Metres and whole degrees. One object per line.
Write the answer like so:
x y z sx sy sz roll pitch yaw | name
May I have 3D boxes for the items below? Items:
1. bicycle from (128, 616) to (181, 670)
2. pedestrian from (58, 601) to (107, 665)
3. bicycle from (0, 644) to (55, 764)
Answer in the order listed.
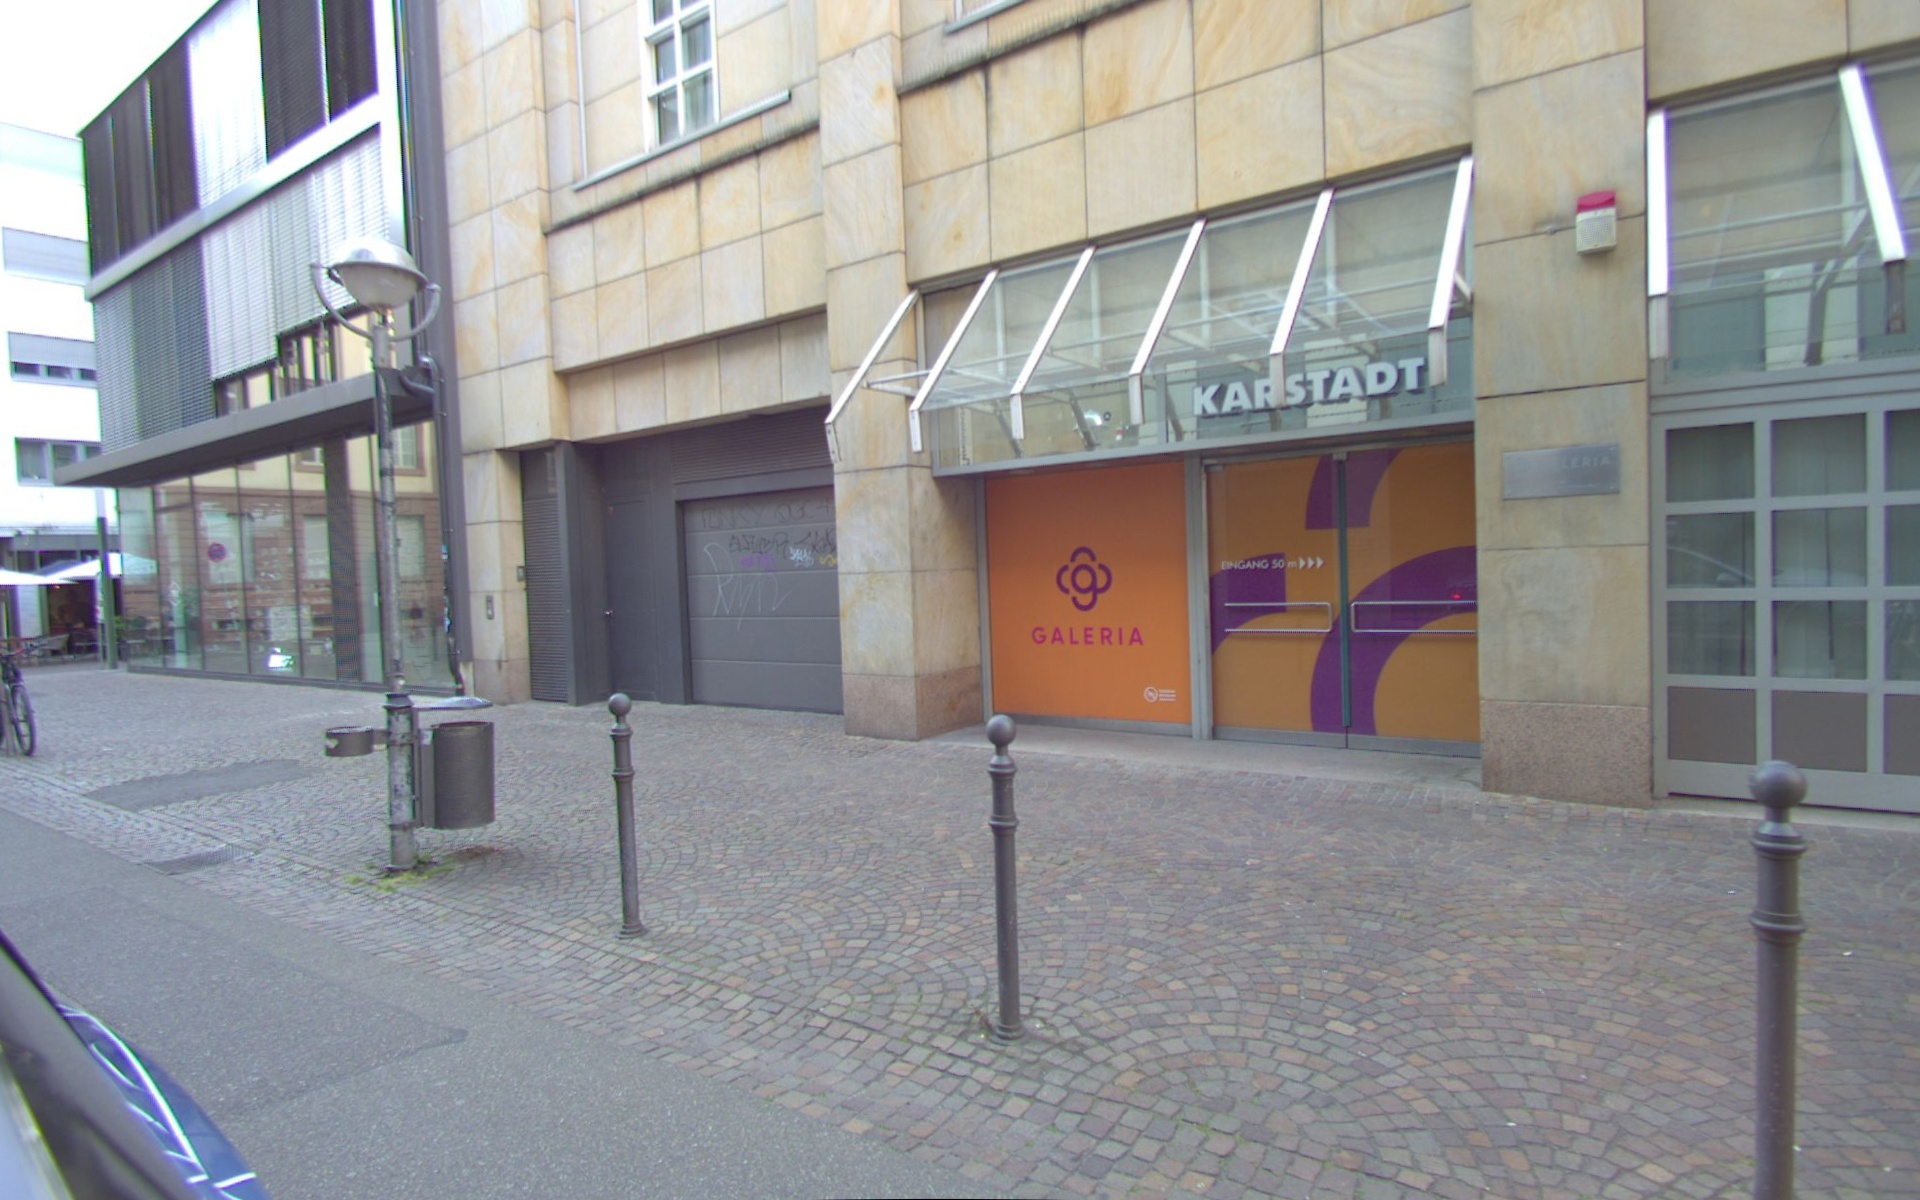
-18.697 1.006 23.481 1.699 1.144 0.461 -4 0 35 | bicycle
-23.685 0.877 27.323 0.789 1.661 0.718 -2 1 30 | pedestrian
-10.157 1.053 10.626 1.924 1.141 0.407 -1 2 32 | bicycle
